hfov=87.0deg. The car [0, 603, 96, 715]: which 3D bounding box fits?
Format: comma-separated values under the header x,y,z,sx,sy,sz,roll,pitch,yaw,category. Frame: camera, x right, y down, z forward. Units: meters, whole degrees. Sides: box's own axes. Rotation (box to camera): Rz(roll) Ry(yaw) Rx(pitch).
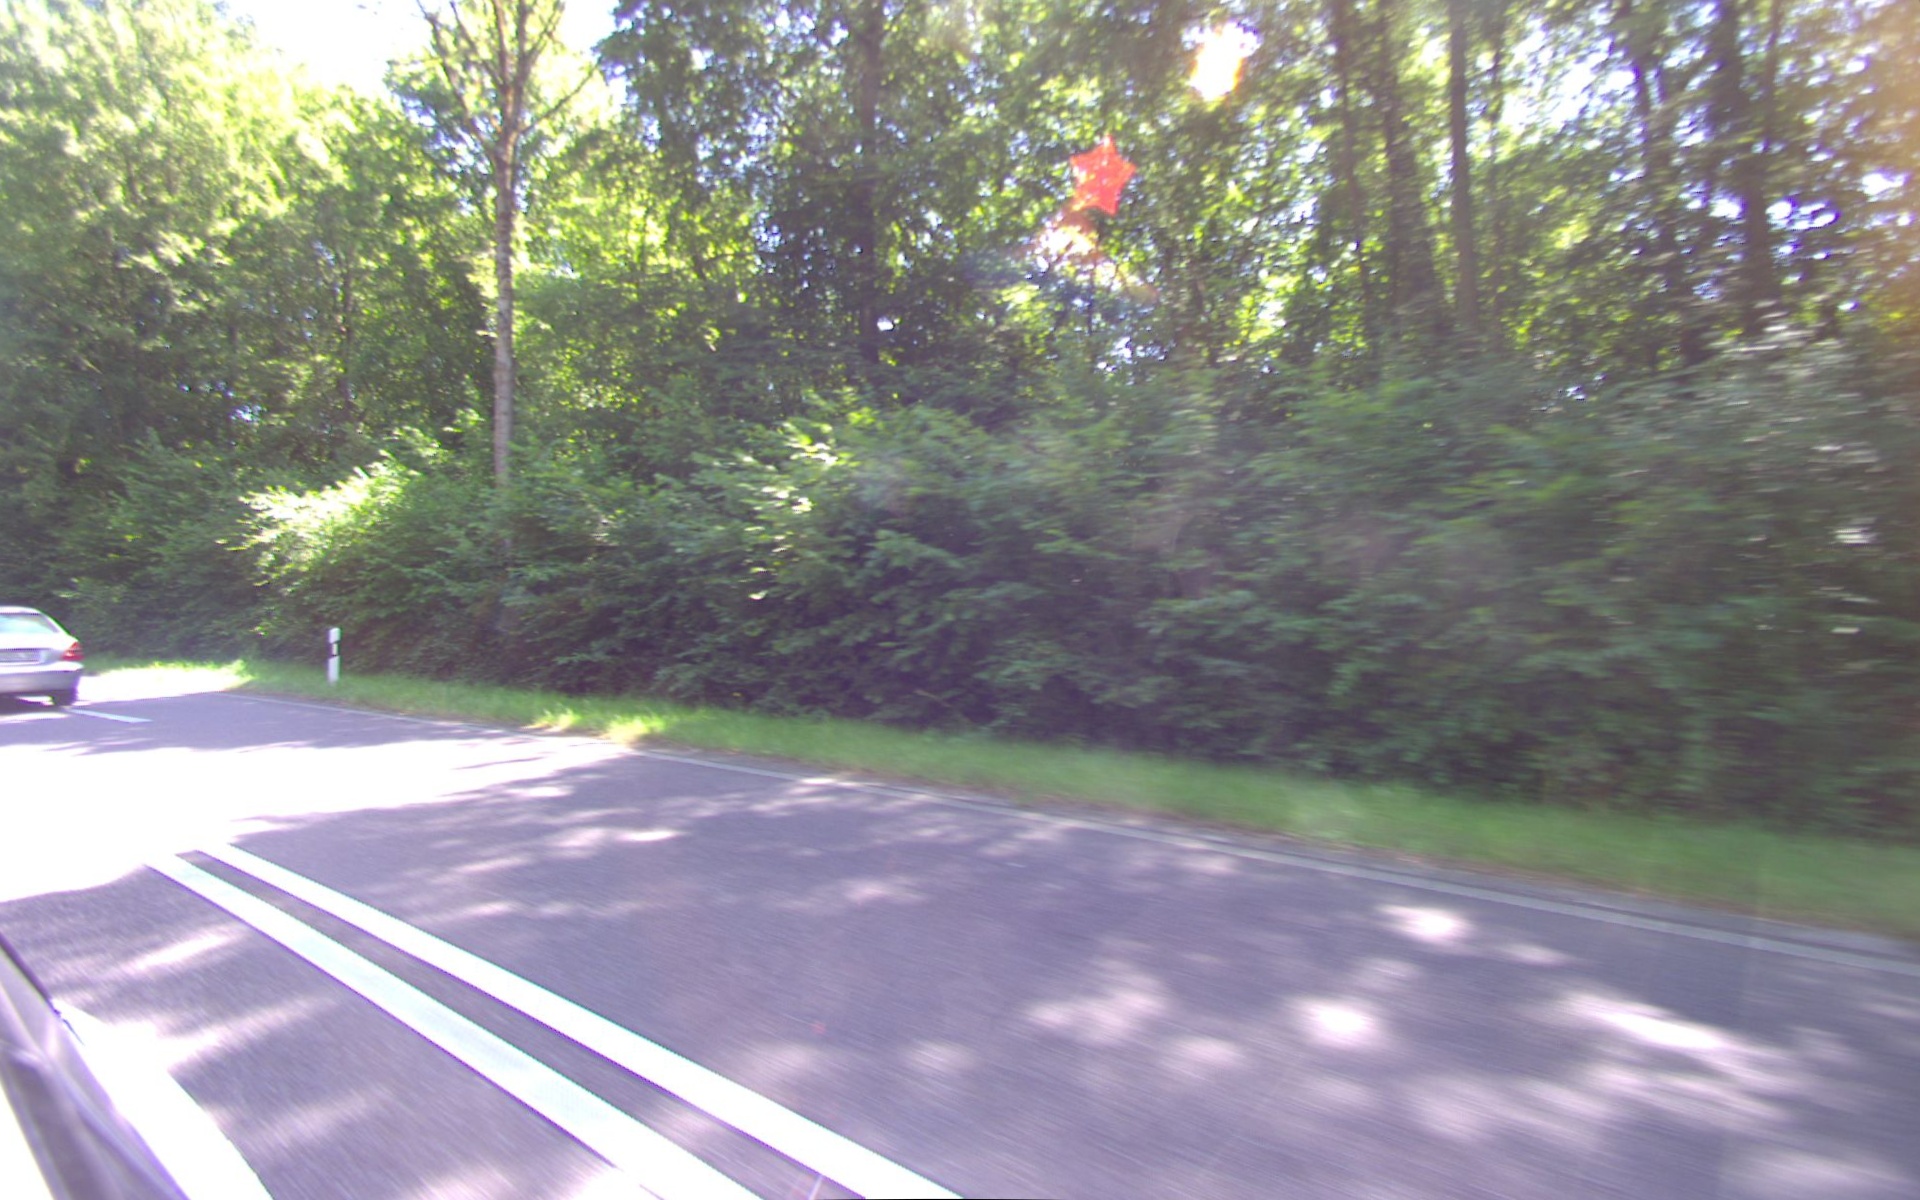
x,y,z,sx,sy,sz,roll,pitch,yaw,category
-14.707,0.789,14.926,4.753,1.497,1.830,0,-1,35,car
